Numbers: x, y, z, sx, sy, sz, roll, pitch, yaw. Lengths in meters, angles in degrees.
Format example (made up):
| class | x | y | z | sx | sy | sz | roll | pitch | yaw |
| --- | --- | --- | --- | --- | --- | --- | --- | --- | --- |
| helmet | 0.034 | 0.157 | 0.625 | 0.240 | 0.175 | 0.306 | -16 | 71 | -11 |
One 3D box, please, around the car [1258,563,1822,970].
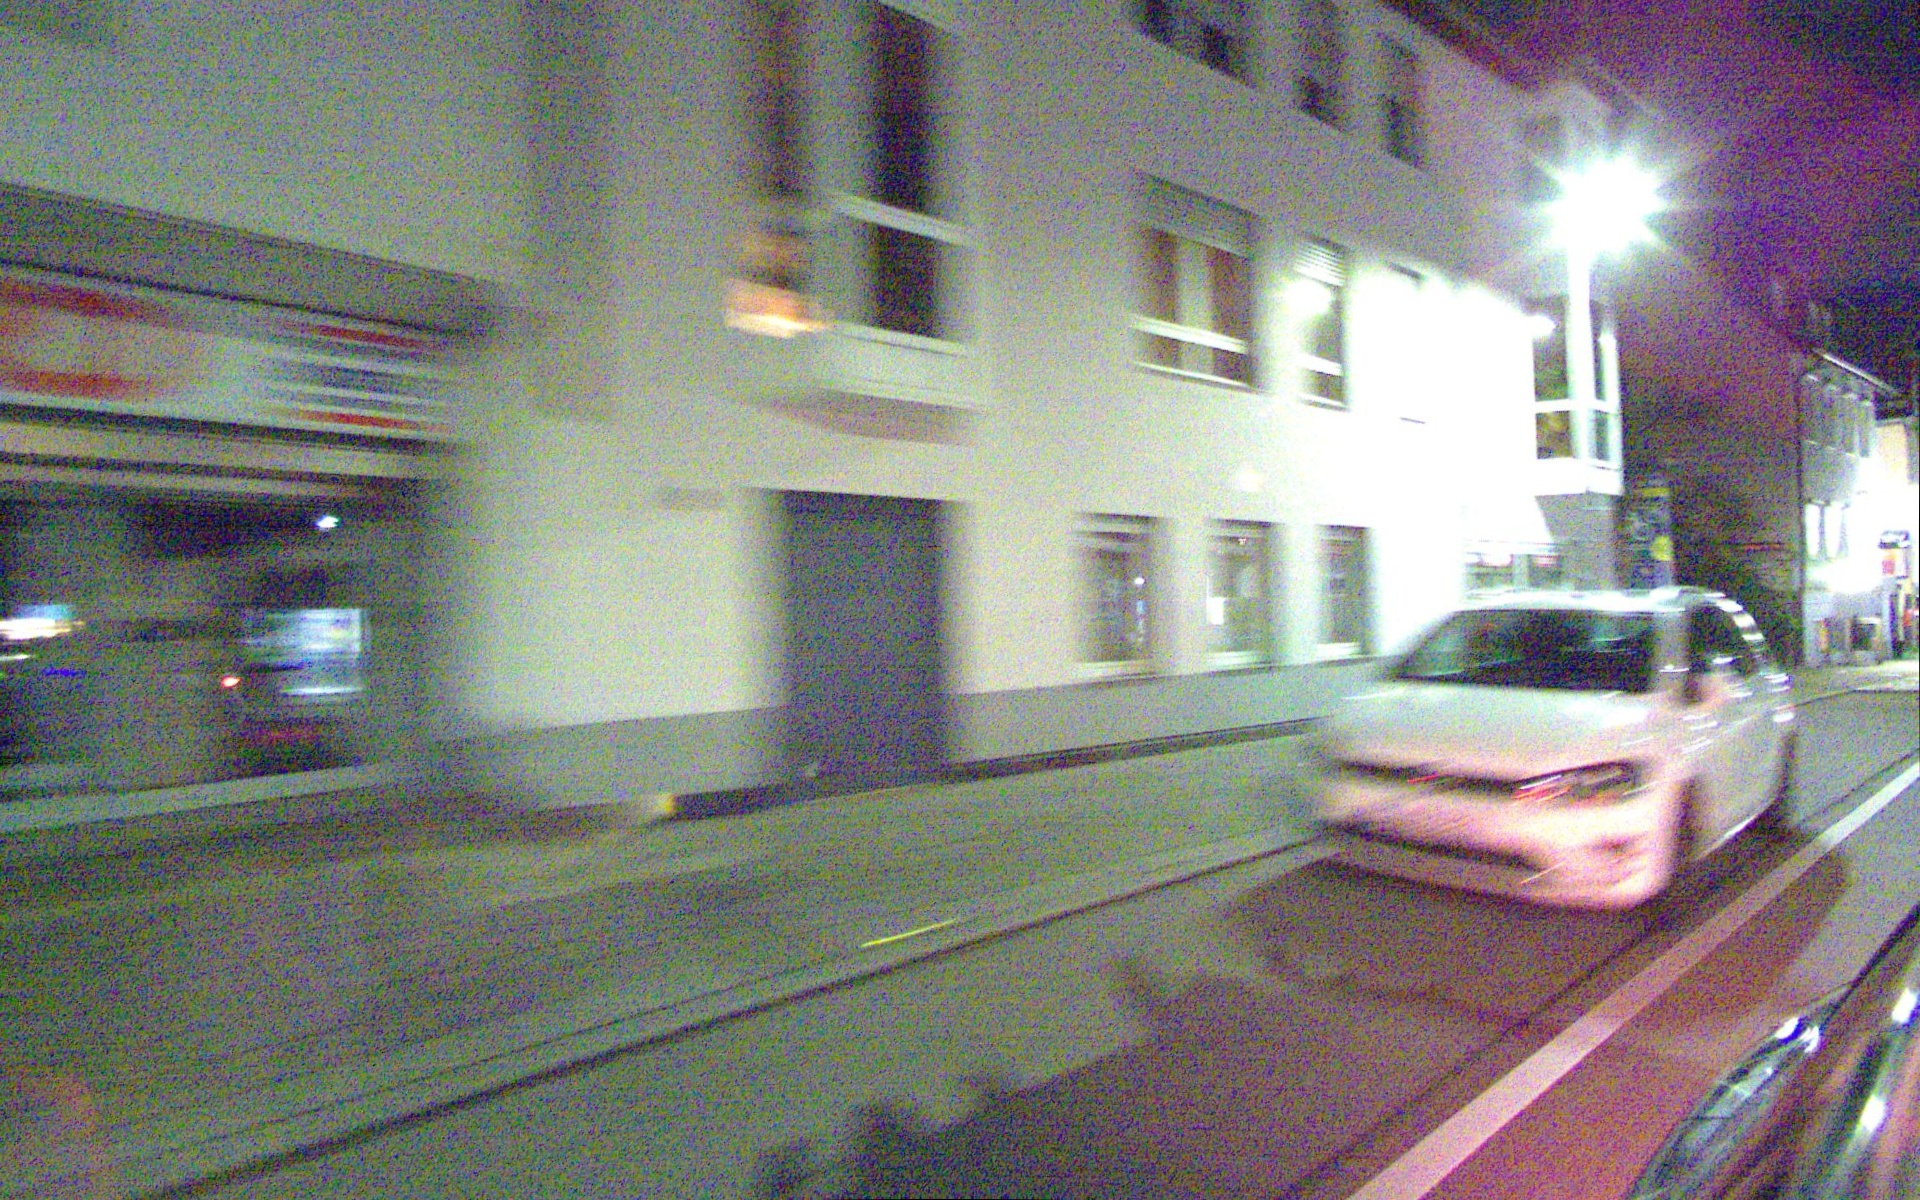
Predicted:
| class | x | y | z | sx | sy | sz | roll | pitch | yaw |
| --- | --- | --- | --- | --- | --- | --- | --- | --- | --- |
| car | 3.650 | 0.640 | 6.011 | 4.137 | 1.589 | 1.745 | 0 | 0 | -43 |
